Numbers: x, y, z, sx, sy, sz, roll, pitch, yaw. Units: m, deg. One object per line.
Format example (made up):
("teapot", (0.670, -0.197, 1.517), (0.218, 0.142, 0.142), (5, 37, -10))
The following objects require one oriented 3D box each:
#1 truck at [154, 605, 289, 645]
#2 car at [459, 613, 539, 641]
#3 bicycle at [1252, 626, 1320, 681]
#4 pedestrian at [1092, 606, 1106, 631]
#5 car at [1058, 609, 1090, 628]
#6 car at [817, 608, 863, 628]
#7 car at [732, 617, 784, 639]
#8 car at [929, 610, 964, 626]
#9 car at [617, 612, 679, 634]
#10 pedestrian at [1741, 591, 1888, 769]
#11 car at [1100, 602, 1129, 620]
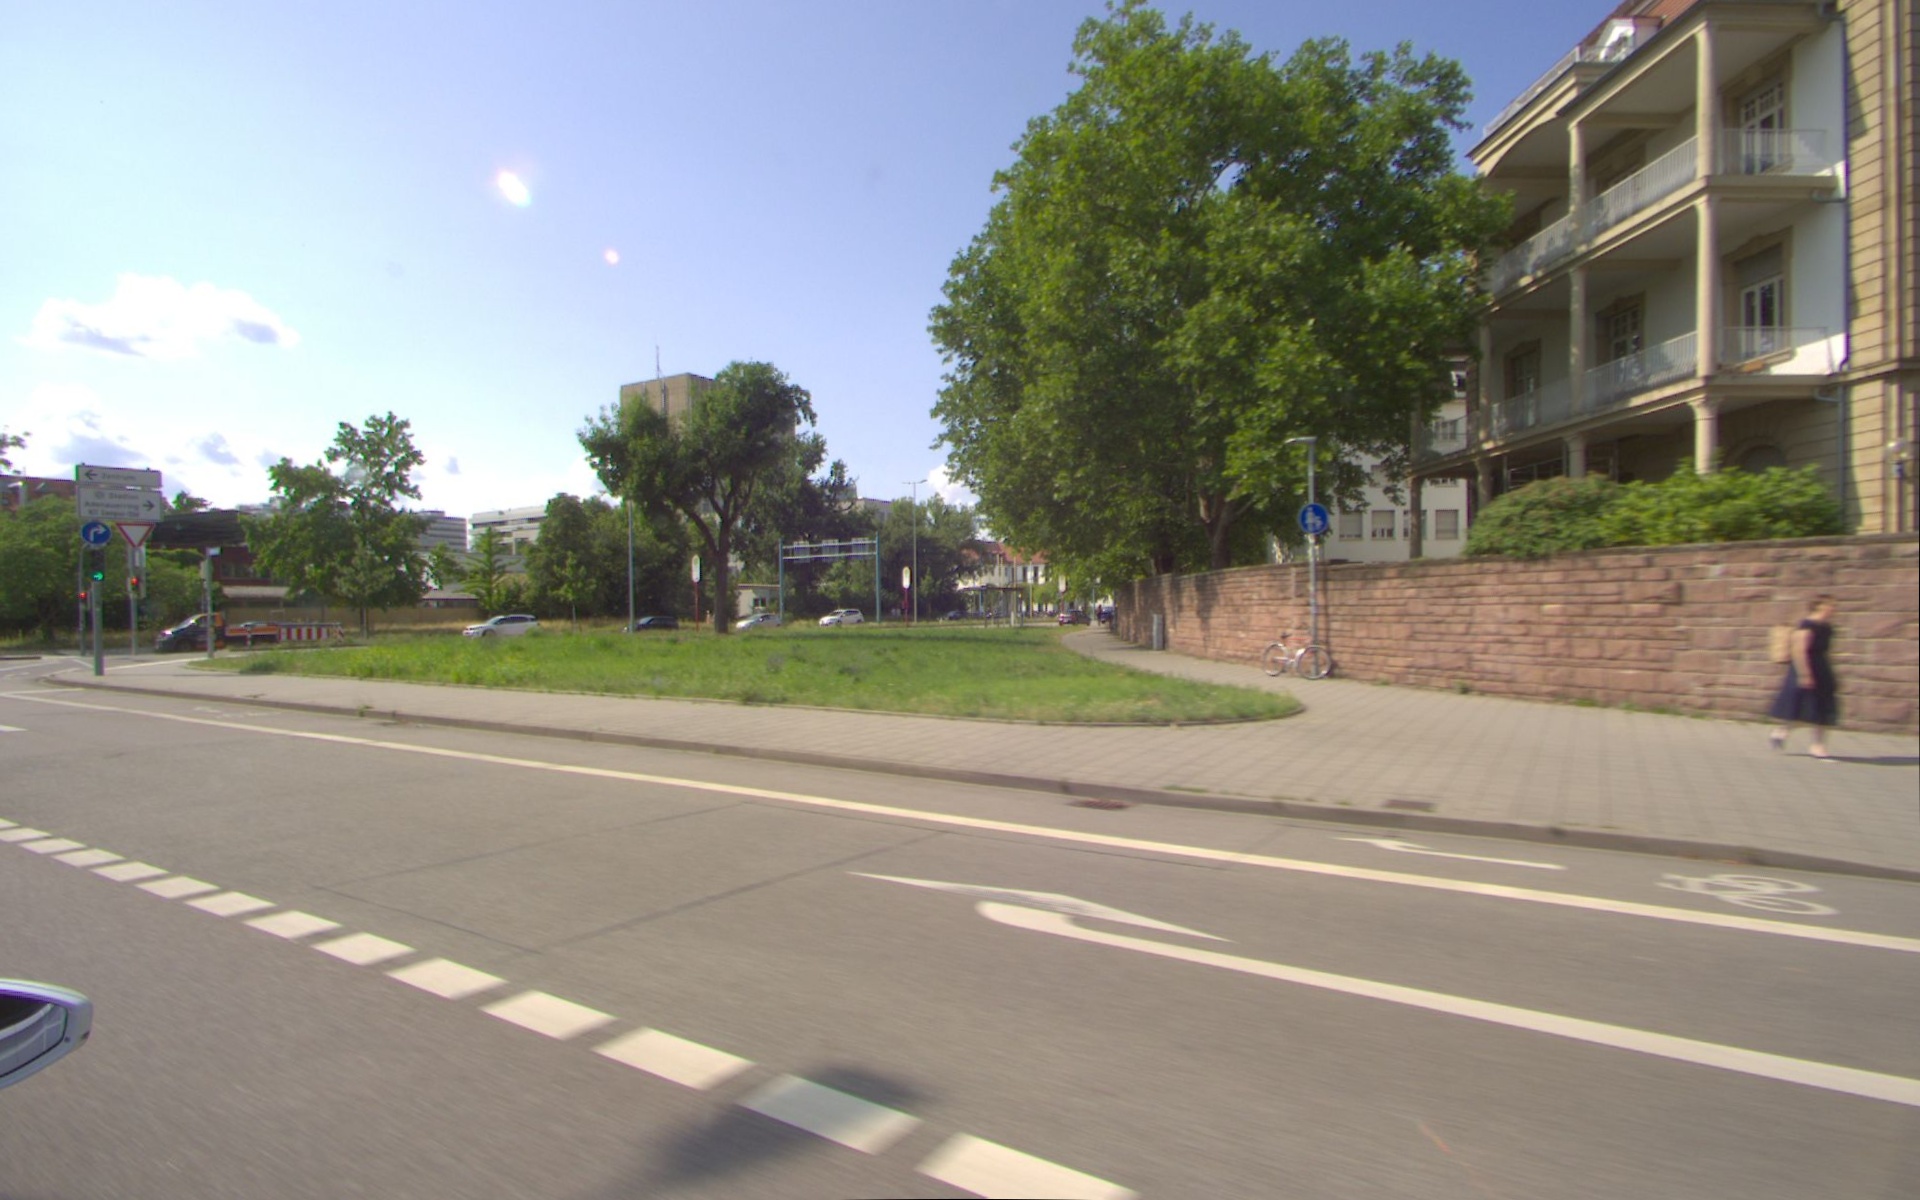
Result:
("truck", (-36.529, 1.207, 49.628), (1.977, 1.862, 5.091), (0, 0, 41))
("car", (-27.823, 1.600, 60.499), (1.605, 1.631, 4.138), (0, 0, 36))
("bicycle", (6.547, 1.059, 20.177), (0.633, 0.987, 1.593), (-2, 0, -8))
("pedestrian", (10.721, 1.445, 77.219), (0.891, 1.908, 0.945), (0, 1, 15))
("car", (10.449, 1.703, 91.790), (1.601, 1.631, 3.907), (0, 0, 29))
("car", (-10.258, 1.552, 85.917), (1.605, 1.631, 3.995), (0, 0, 36))
("car", (-15.685, 2.142, 78.034), (1.605, 1.631, 3.897), (0, 0, 37))
("car", (-1.342, 1.838, 103.590), (1.605, 1.631, 3.995), (0, 0, 36))
("car", (-21.611, 1.597, 69.482), (1.605, 1.438, 3.899), (0, 0, 36))
("pedestrian", (8.332, 0.746, 9.804), (0.736, 1.661, 0.886), (0, 1, 11))
("car", (15.121, 1.064, 98.046), (1.601, 1.631, 3.907), (0, 0, 29))
